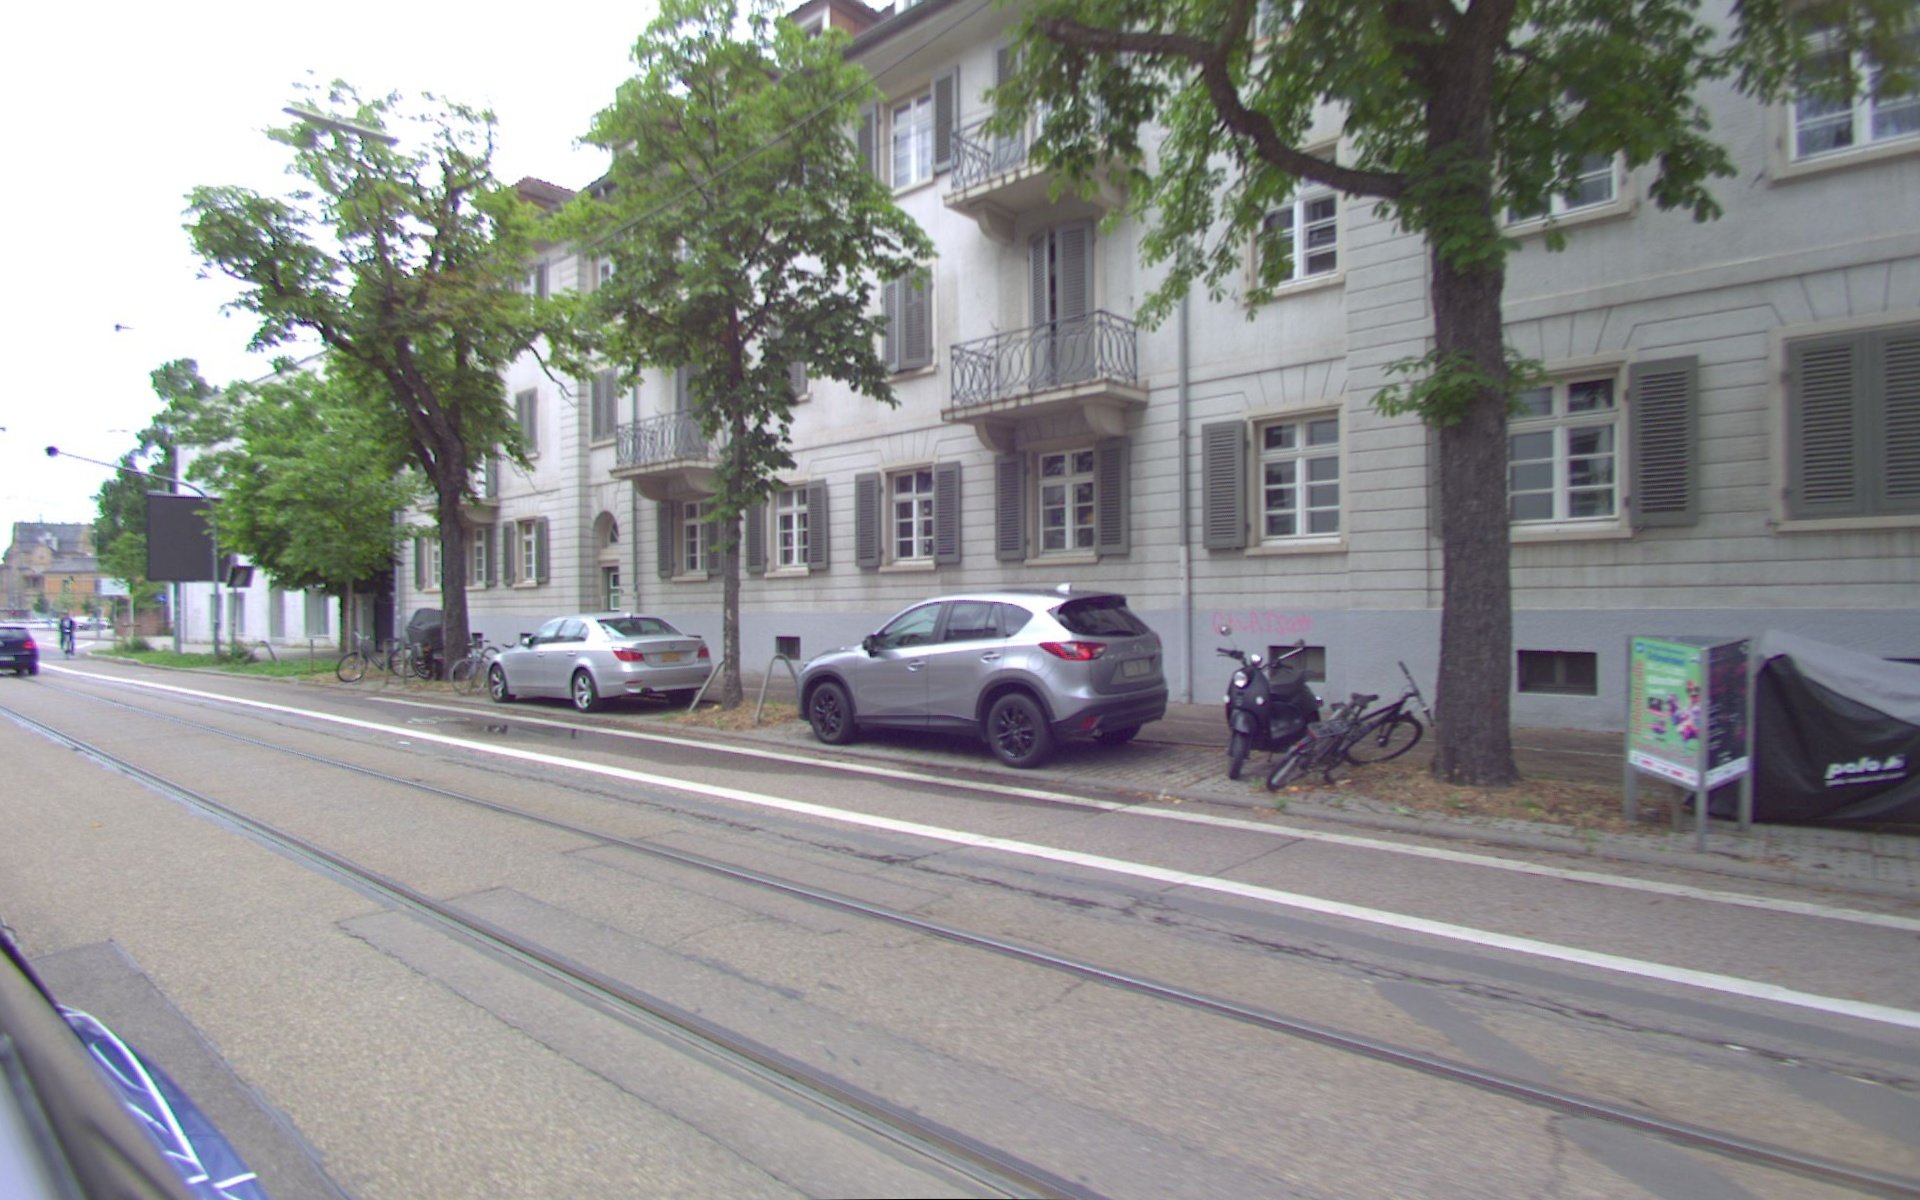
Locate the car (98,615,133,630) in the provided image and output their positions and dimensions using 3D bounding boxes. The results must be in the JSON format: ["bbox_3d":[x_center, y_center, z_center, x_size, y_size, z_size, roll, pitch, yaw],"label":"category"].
[{"bbox_3d":[-100.648,2.655,120.700,1.658,1.663,3.991,-1,0,-15],"label":"car"}]

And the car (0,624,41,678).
[{"bbox_3d":[-26.756,1.388,27.878,3.653,1.419,1.711,-1,-1,41],"label":"car"}]

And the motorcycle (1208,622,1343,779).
[{"bbox_3d":[2.788,0.836,8.902,1.270,1.231,0.548,-2,0,-43],"label":"motorcycle"}]

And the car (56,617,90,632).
[{"bbox_3d":[-98.903,2.714,112.848,1.469,1.520,3.480,-1,0,-16],"label":"car"}]

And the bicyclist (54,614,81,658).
[{"bbox_3d":[-34.979,1.401,39.661,0.765,1.703,0.869,0,-1,-44],"label":"bicyclist"}]

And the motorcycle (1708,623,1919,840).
[{"bbox_3d":[5.898,0.780,6.143,2.137,1.267,0.535,-1,-1,35],"label":"motorcycle"}]

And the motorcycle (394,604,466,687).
[{"bbox_3d":[-11.344,0.935,21.597,0.822,1.655,2.484,0,-1,-41],"label":"motorcycle"}]

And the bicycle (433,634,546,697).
[{"bbox_3d":[-8.799,1.205,18.994,0.563,1.035,1.877,-1,0,37],"label":"bicycle"}]

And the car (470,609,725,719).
[{"bbox_3d":[-5.902,0.933,16.195,4.611,1.477,1.793,-1,0,41],"label":"car"}]

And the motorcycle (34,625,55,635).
[{"bbox_3d":[-100.059,3.249,110.636,1.038,1.077,2.657,-1,-1,-26],"label":"motorcycle"}]

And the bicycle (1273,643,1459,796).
[{"bbox_3d":[3.344,0.916,8.296,1.360,1.012,0.930,-4,2,-45],"label":"bicycle"}]

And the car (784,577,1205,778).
[{"bbox_3d":[0.212,0.690,10.775,4.292,1.673,1.818,-1,1,42],"label":"car"}]

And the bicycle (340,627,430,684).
[{"bbox_3d":[-12.948,1.233,22.819,1.718,1.137,0.519,-3,0,-31],"label":"bicycle"}]

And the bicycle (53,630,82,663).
[{"bbox_3d":[-35.049,1.802,39.733,0.765,1.221,1.870,0,-1,-44],"label":"bicycle"}]

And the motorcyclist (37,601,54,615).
[{"bbox_3d":[-100.192,0.904,110.836,1.058,1.497,1.255,-1,-1,-25],"label":"motorcyclist"}]
